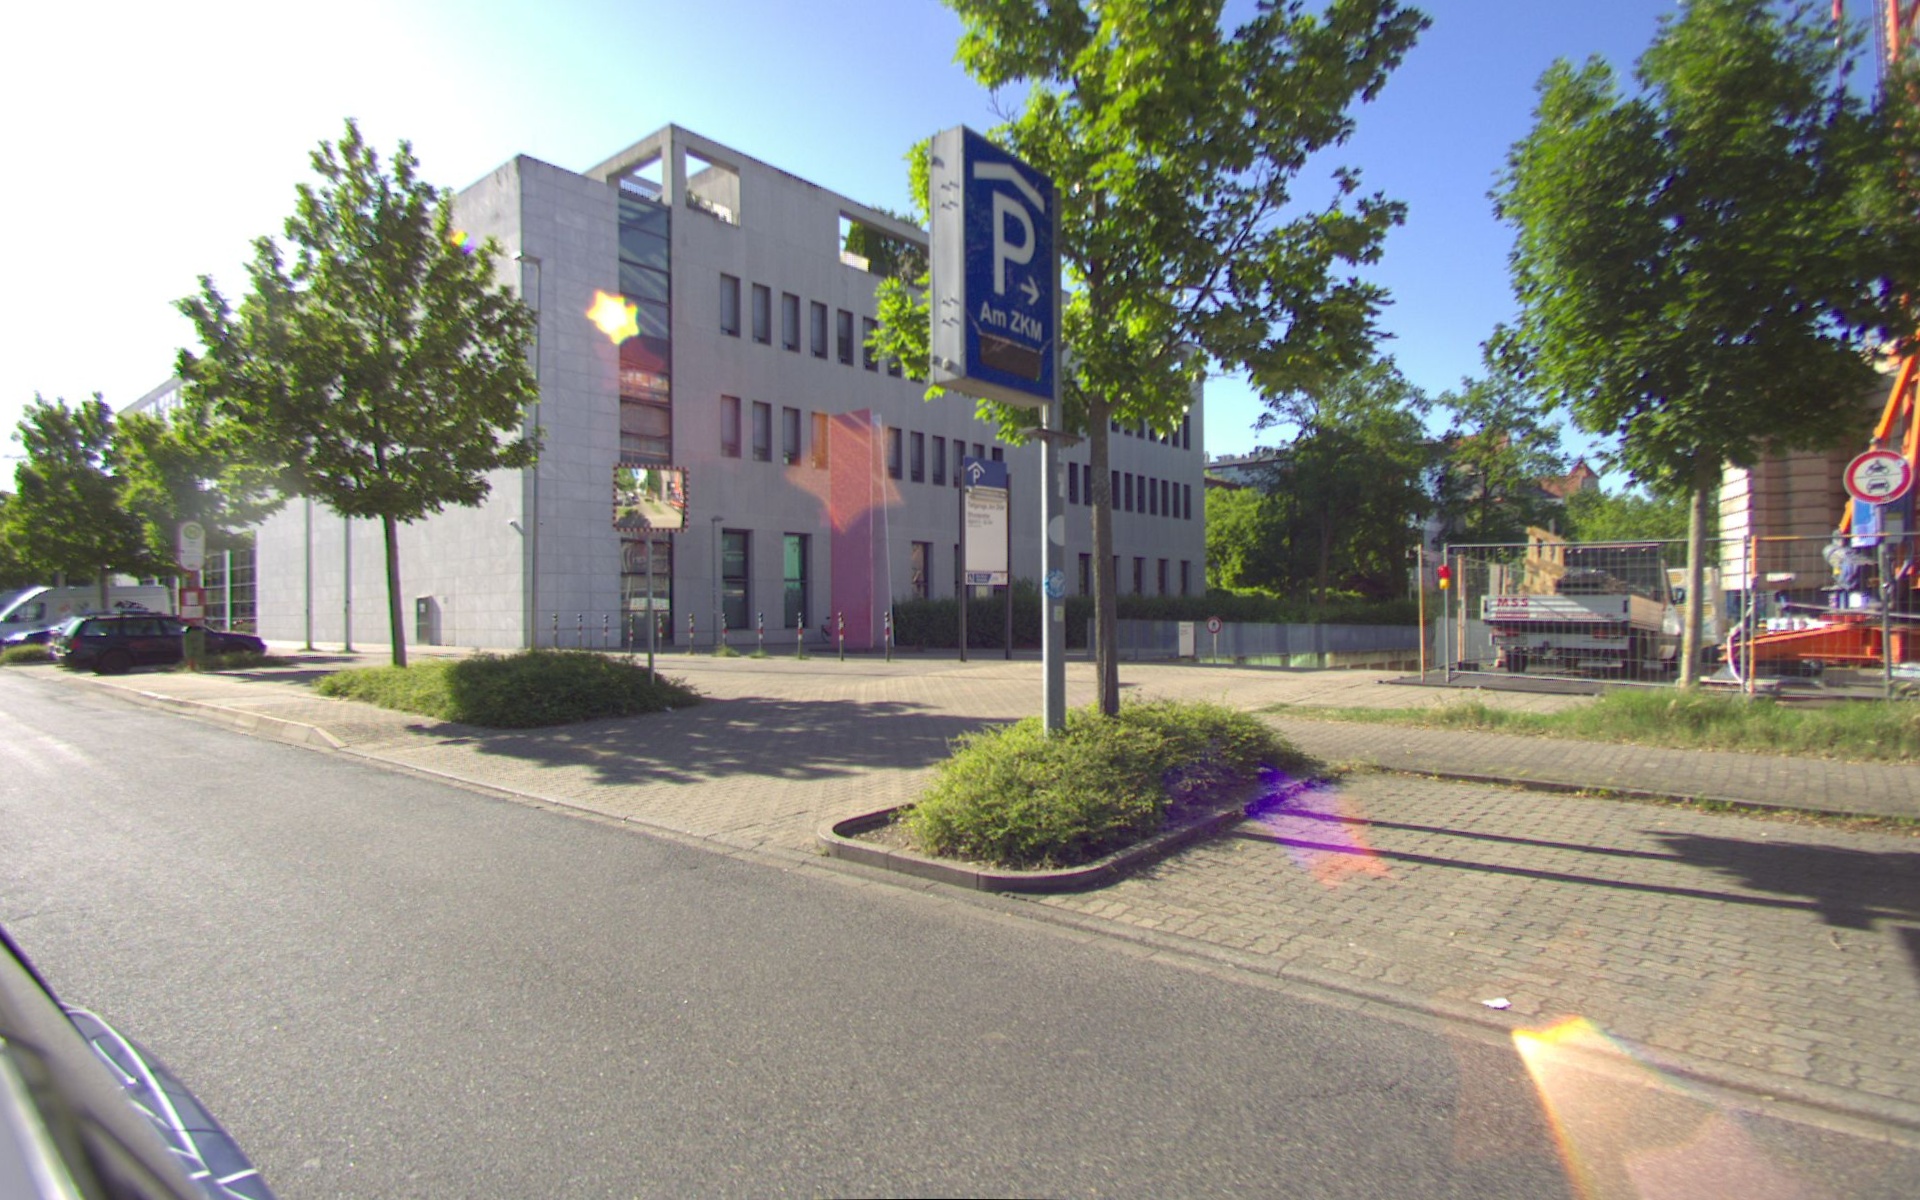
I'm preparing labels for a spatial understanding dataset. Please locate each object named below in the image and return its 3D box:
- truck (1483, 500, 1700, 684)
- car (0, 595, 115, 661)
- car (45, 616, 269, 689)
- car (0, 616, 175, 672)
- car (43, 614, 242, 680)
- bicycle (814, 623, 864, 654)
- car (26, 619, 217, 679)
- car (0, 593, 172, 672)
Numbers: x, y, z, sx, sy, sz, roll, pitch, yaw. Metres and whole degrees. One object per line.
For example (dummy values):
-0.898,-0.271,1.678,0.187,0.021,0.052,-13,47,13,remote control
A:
11.410,-0.051,18.058,2.269,2.751,5.779,-2,-2,42,truck
-40.299,1.203,43.774,2.010,2.657,5.510,-1,1,42,car
-20.685,1.289,26.231,1.717,1.525,4.261,-1,1,40,car
-29.003,1.404,33.665,1.692,1.525,4.261,-1,1,40,car
-23.812,1.305,29.600,1.692,1.595,4.261,-1,1,40,car
-4.870,1.522,40.881,0.716,1.219,2.235,-1,-2,35,bicycle
-25.622,1.440,31.054,1.692,1.525,4.261,-1,1,40,car
-31.583,1.093,35.808,2.010,2.501,5.510,-1,1,42,car
